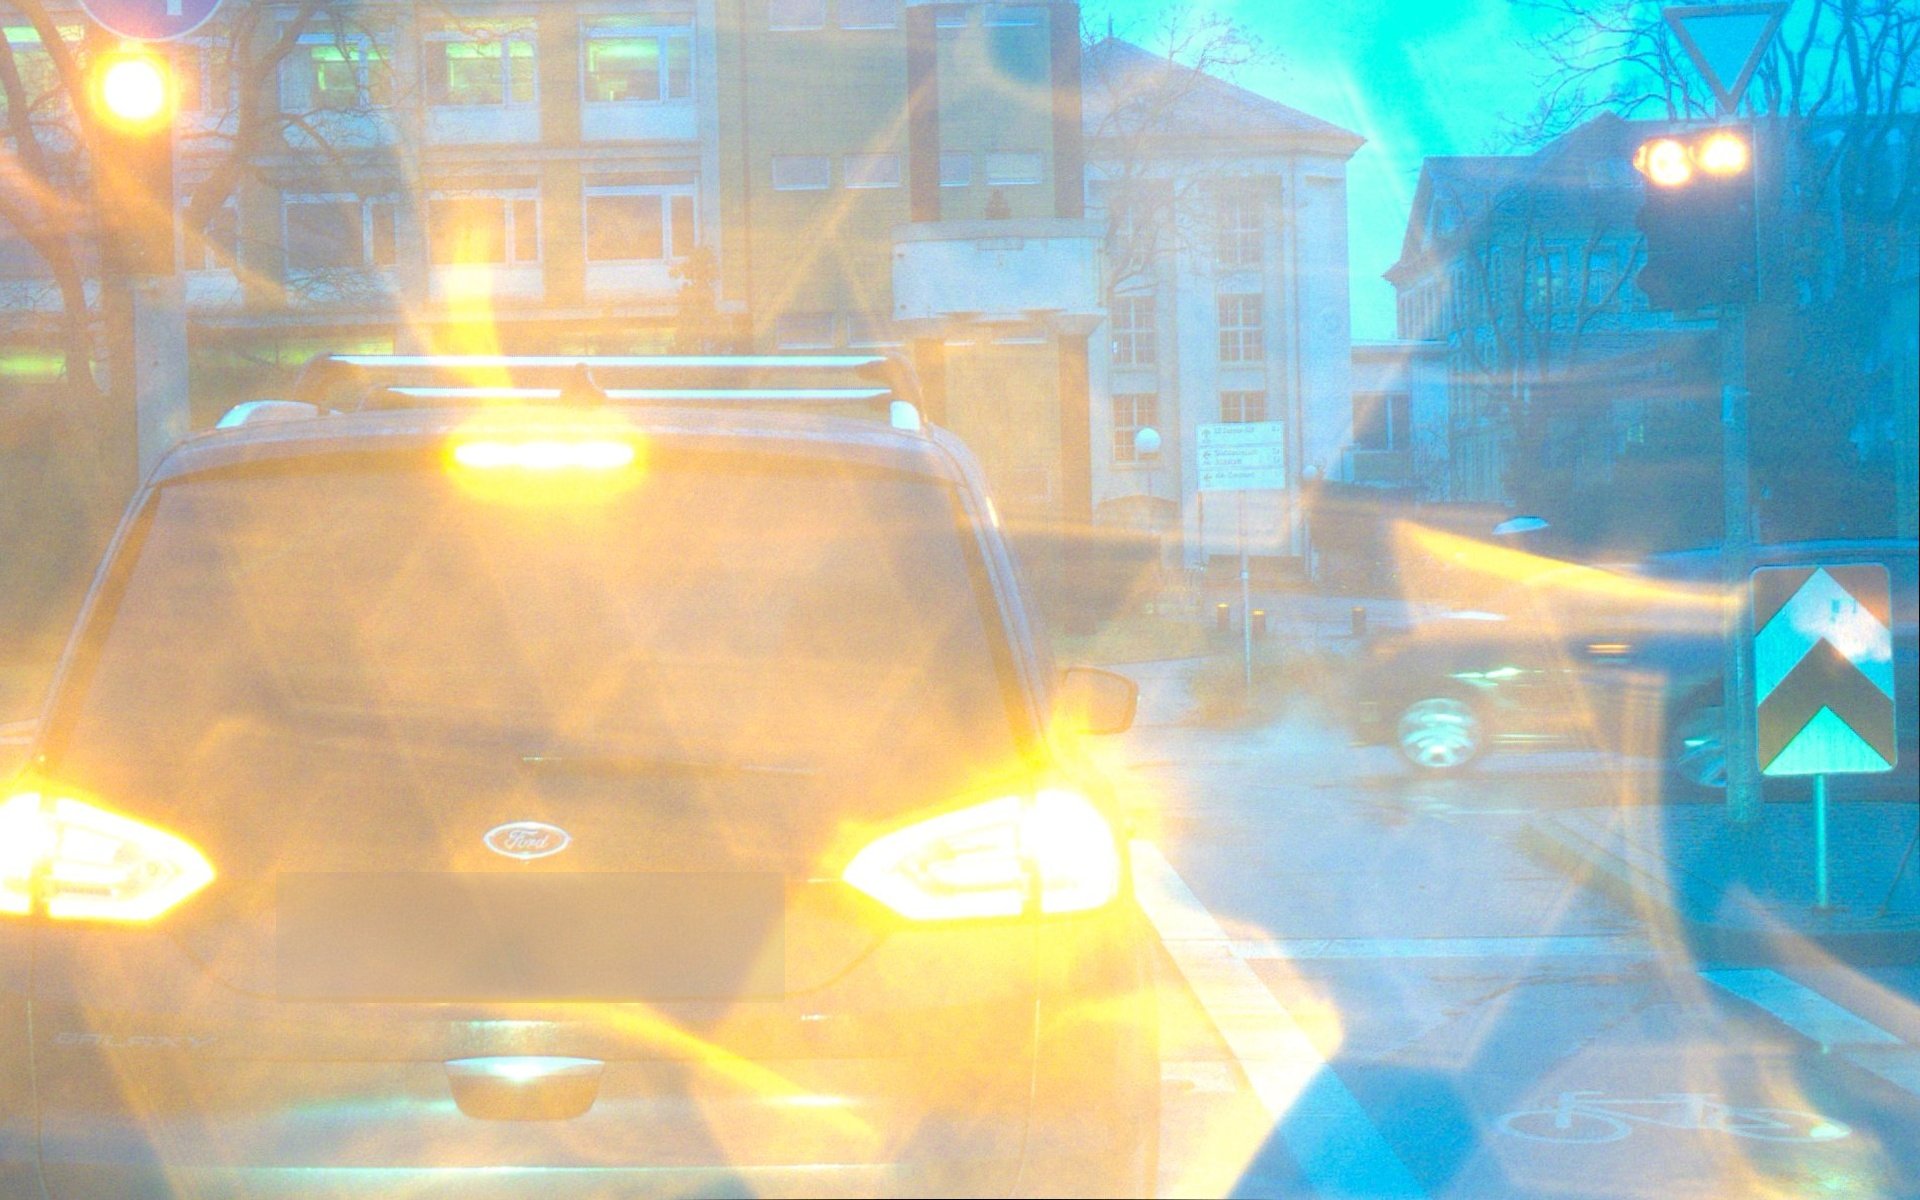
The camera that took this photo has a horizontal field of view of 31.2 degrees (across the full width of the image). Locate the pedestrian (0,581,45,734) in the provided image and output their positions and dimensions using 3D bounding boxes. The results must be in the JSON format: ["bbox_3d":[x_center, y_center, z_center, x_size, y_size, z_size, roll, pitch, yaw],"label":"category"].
[{"bbox_3d":[-12.222,0.727,42.813,1.002,1.836,1.138,-2,3,23],"label":"pedestrian"}]

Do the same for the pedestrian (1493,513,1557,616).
[{"bbox_3d":[9.142,-0.578,55.627,0.720,1.622,0.761,-1,1,32],"label":"pedestrian"}]

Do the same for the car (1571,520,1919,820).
[{"bbox_3d":[5.552,0.345,19.253,4.125,1.577,1.840,-2,0,11],"label":"car"}]

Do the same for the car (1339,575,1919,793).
[{"bbox_3d":[4.443,0.535,22.774,3.756,1.297,1.701,-2,0,8],"label":"car"}]

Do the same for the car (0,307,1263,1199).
[{"bbox_3d":[-0.630,0.493,6.558,1.993,1.783,4.000,1,1,-1],"label":"car"}]
